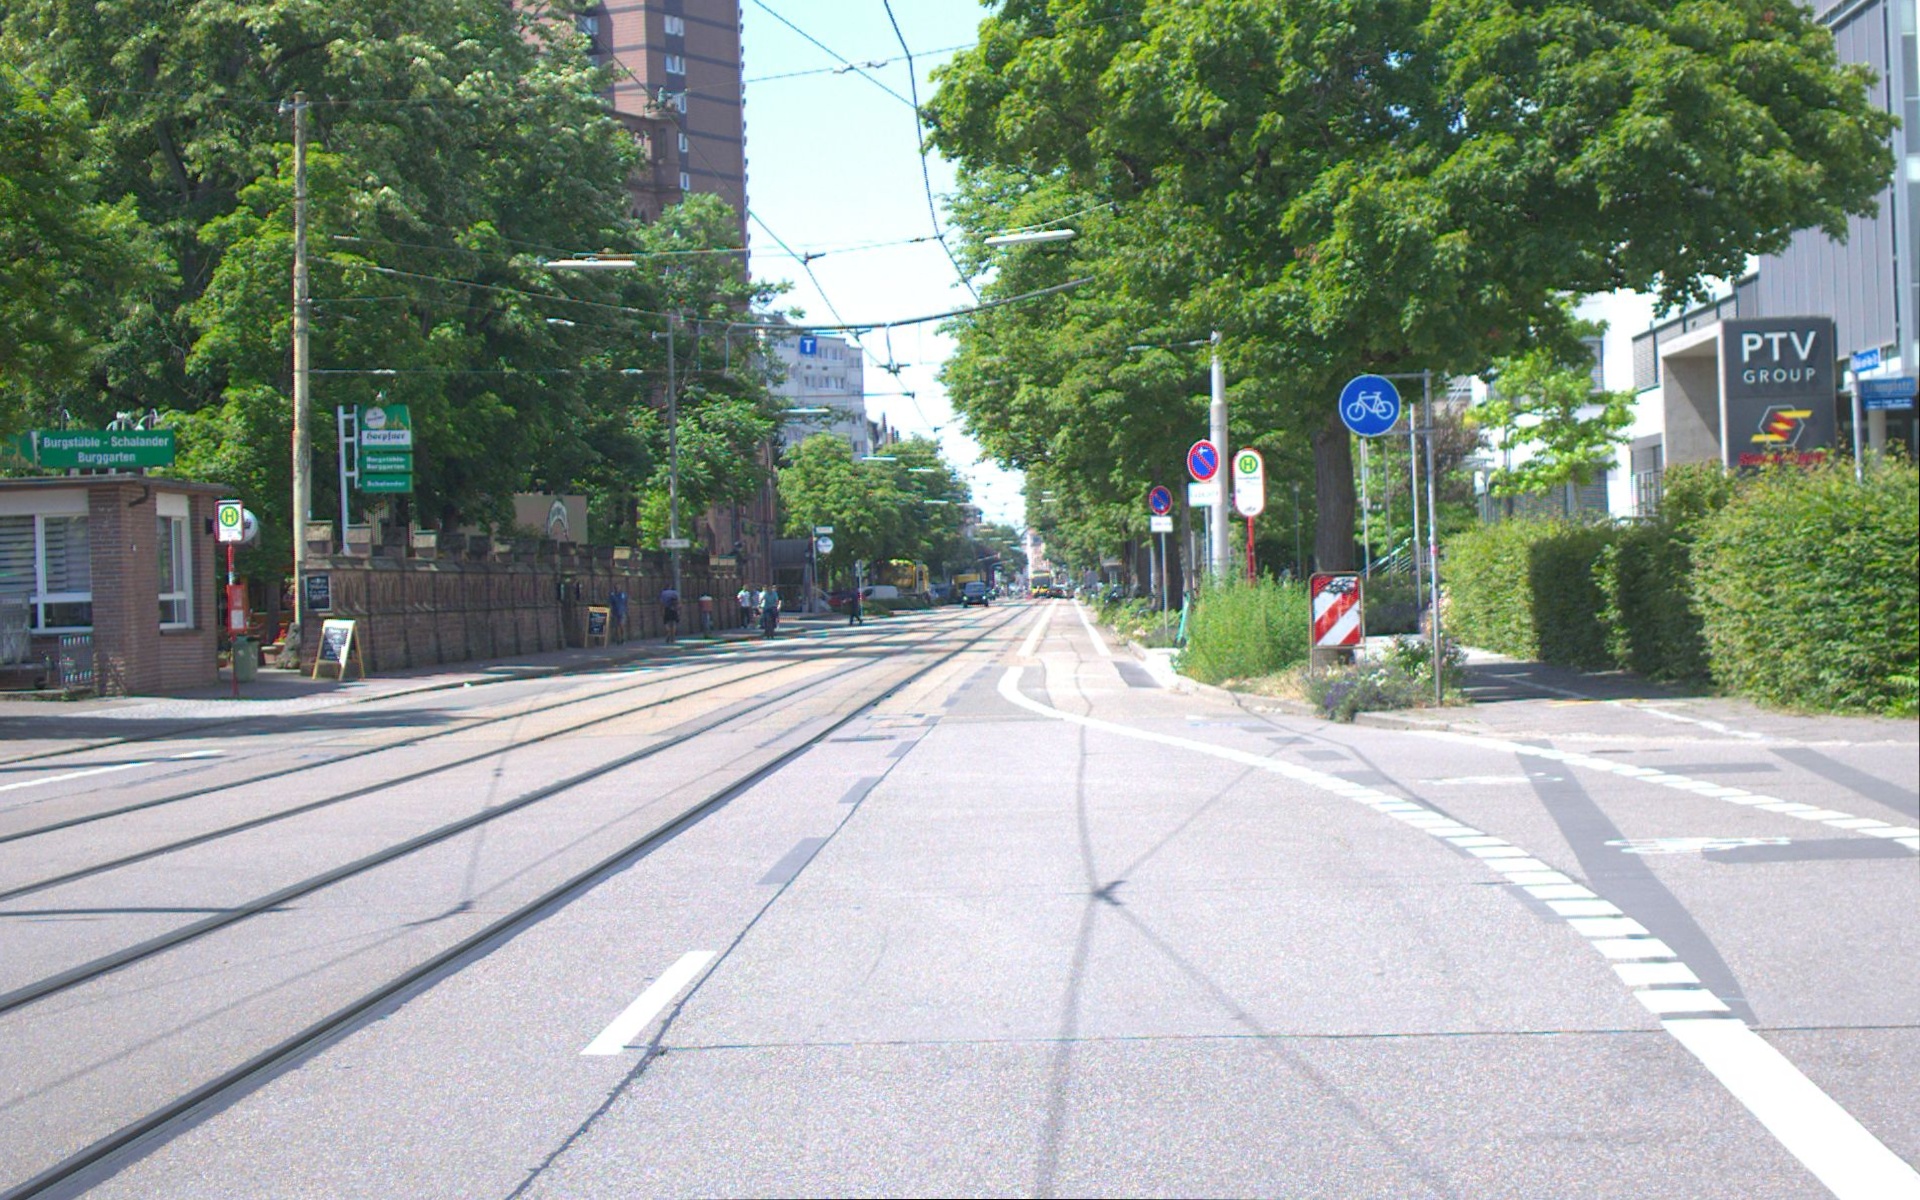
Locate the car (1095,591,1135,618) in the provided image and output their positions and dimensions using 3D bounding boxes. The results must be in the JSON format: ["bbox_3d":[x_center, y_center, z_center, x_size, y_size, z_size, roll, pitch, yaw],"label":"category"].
[{"bbox_3d":[8.009,0.232,178.248,1.993,1.306,4.000,-2,0,2],"label":"car"}]

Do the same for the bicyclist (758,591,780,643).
[{"bbox_3d":[-6.257,0.556,112.722,0.642,1.674,0.815,-2,0,0],"label":"bicyclist"}]

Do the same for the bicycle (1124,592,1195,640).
[{"bbox_3d":[5.101,0.408,87.967,1.752,1.162,0.530,-1,0,-1],"label":"bicycle"}]

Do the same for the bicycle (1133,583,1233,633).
[{"bbox_3d":[5.805,0.211,89.446,2.511,1.205,0.648,-2,0,7],"label":"bicycle"}]

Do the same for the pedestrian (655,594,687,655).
[{"bbox_3d":[-8.535,0.724,101.618,0.814,1.764,0.924,-1,0,2],"label":"pedestrian"}]

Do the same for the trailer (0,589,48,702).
[{"bbox_3d":[-15.591,0.709,52.471,2.830,1.698,1.621,-1,0,3],"label":"trailer"}]

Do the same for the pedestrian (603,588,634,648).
[{"bbox_3d":[-9.808,0.515,98.840,0.743,1.722,0.867,-1,0,2],"label":"pedestrian"}]

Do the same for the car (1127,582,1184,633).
[{"bbox_3d":[6.069,0.216,107.168,1.634,1.496,4.000,-2,0,2],"label":"car"}]

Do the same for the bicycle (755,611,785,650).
[{"bbox_3d":[-6.219,0.982,112.609,0.701,1.200,2.240,-4,0,2],"label":"bicycle"}]

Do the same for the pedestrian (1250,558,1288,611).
[{"bbox_3d":[11.010,-0.554,122.447,1.215,1.821,0.831,-2,0,-1],"label":"pedestrian"}]

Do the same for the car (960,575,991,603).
[{"bbox_3d":[1.143,-0.789,253.236,1.994,2.007,3.999,-2,0,4],"label":"car"}]

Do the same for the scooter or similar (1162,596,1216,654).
[{"bbox_3d":[4.756,0.511,71.478,1.058,1.152,0.370,-3,0,3],"label":"scooter or similar"}]

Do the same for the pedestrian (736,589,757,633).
[{"bbox_3d":[-8.560,0.445,137.868,0.743,1.722,0.867,-1,0,2],"label":"pedestrian"}]
